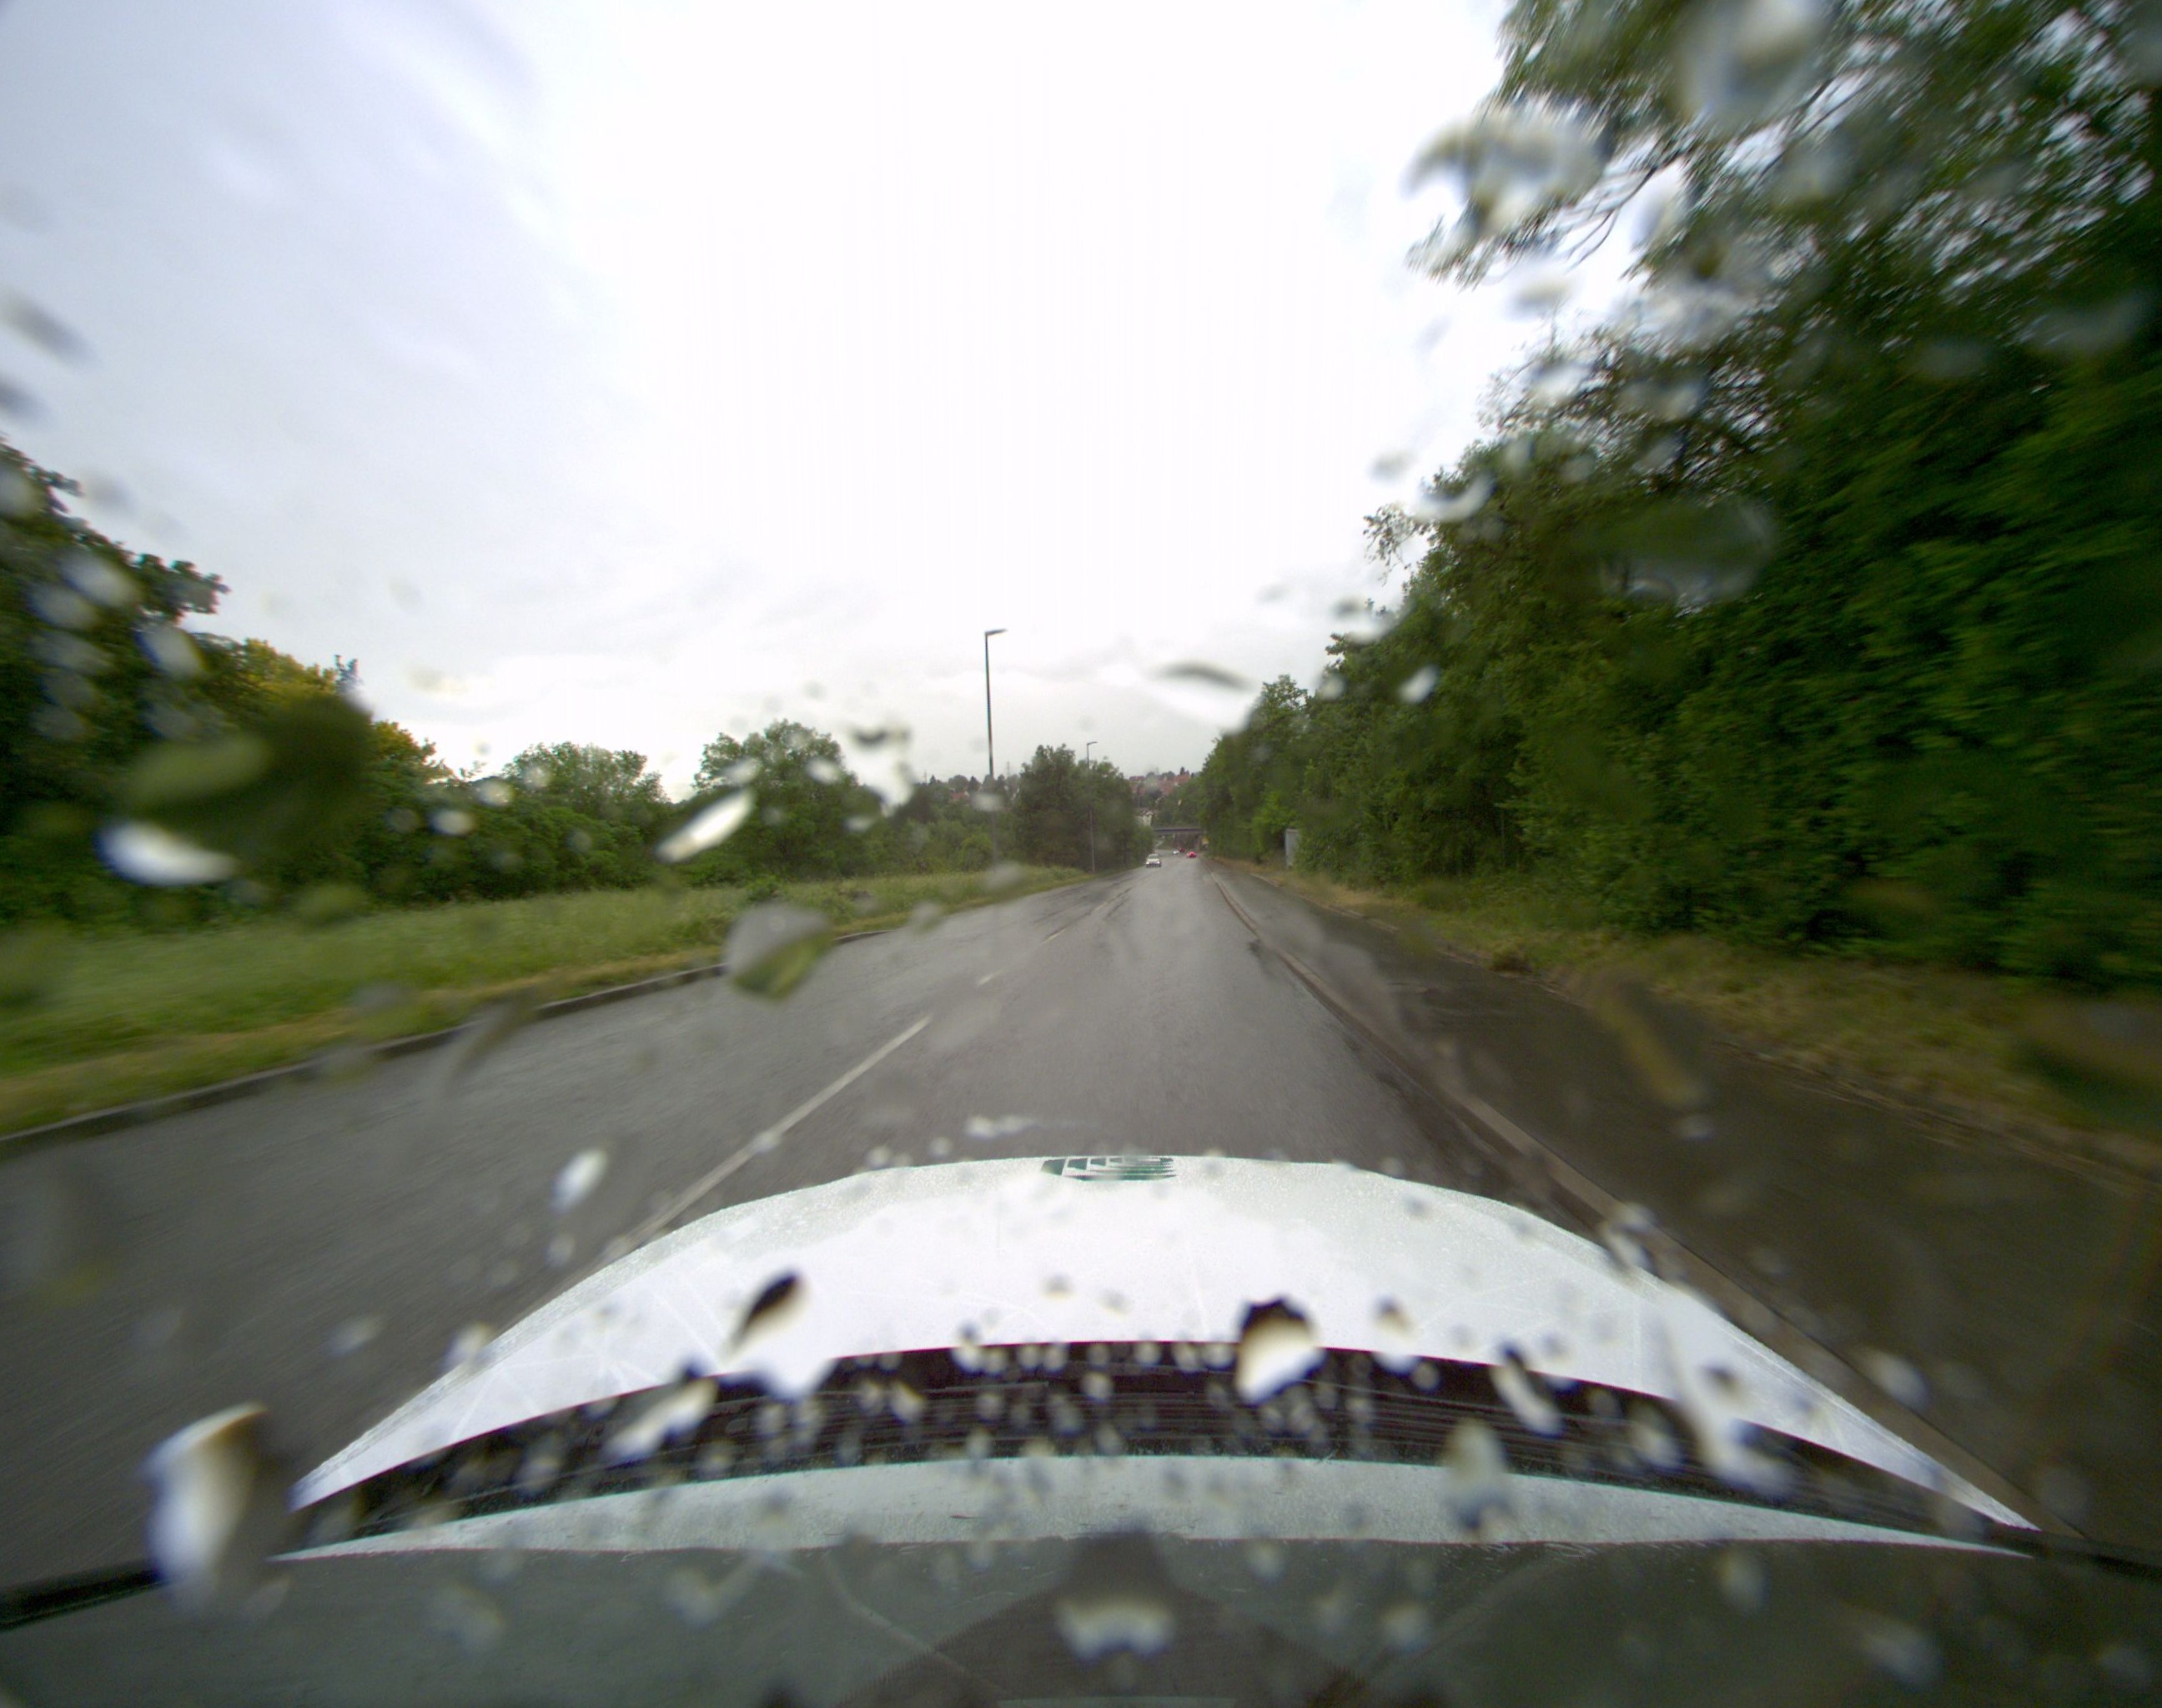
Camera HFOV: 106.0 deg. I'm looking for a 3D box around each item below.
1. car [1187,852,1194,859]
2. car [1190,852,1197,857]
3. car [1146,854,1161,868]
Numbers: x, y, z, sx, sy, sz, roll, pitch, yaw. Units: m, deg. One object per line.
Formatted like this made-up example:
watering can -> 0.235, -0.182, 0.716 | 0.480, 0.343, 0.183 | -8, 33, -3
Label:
car -> 29.107, 0.372, 216.764 | 1.758, 1.563, 4.009 | -4, -1, 8
car -> 29.038, 0.125, 210.042 | 1.758, 1.380, 4.009 | -4, -1, 8
car -> 8.352, 0.770, 93.886 | 1.632, 1.488, 3.458 | -4, -1, 4
